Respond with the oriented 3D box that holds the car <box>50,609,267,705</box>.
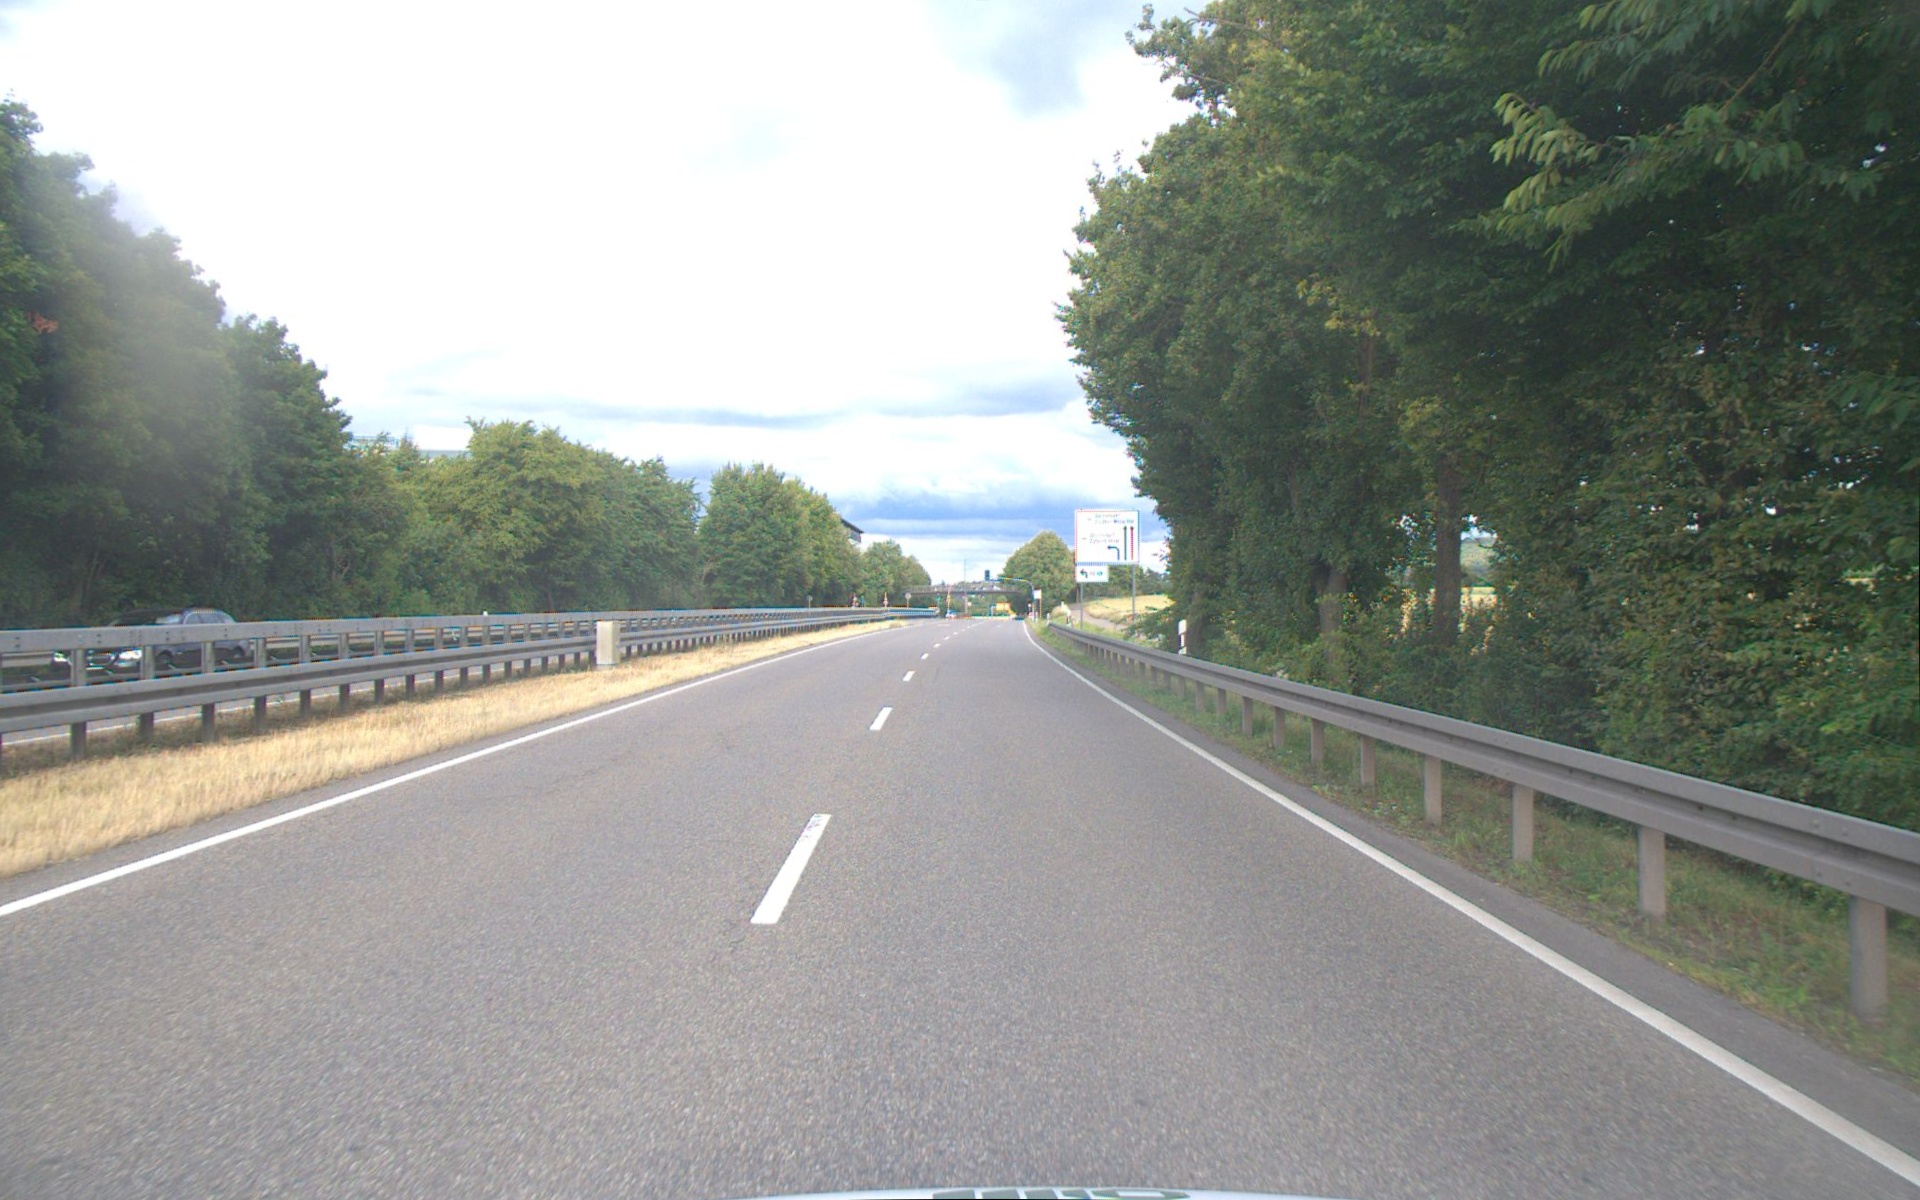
[{"bbox_3d":[-14.676,0.992,30.591,1.787,1.571,4.586,-1,0,0],"label":"car"}]
